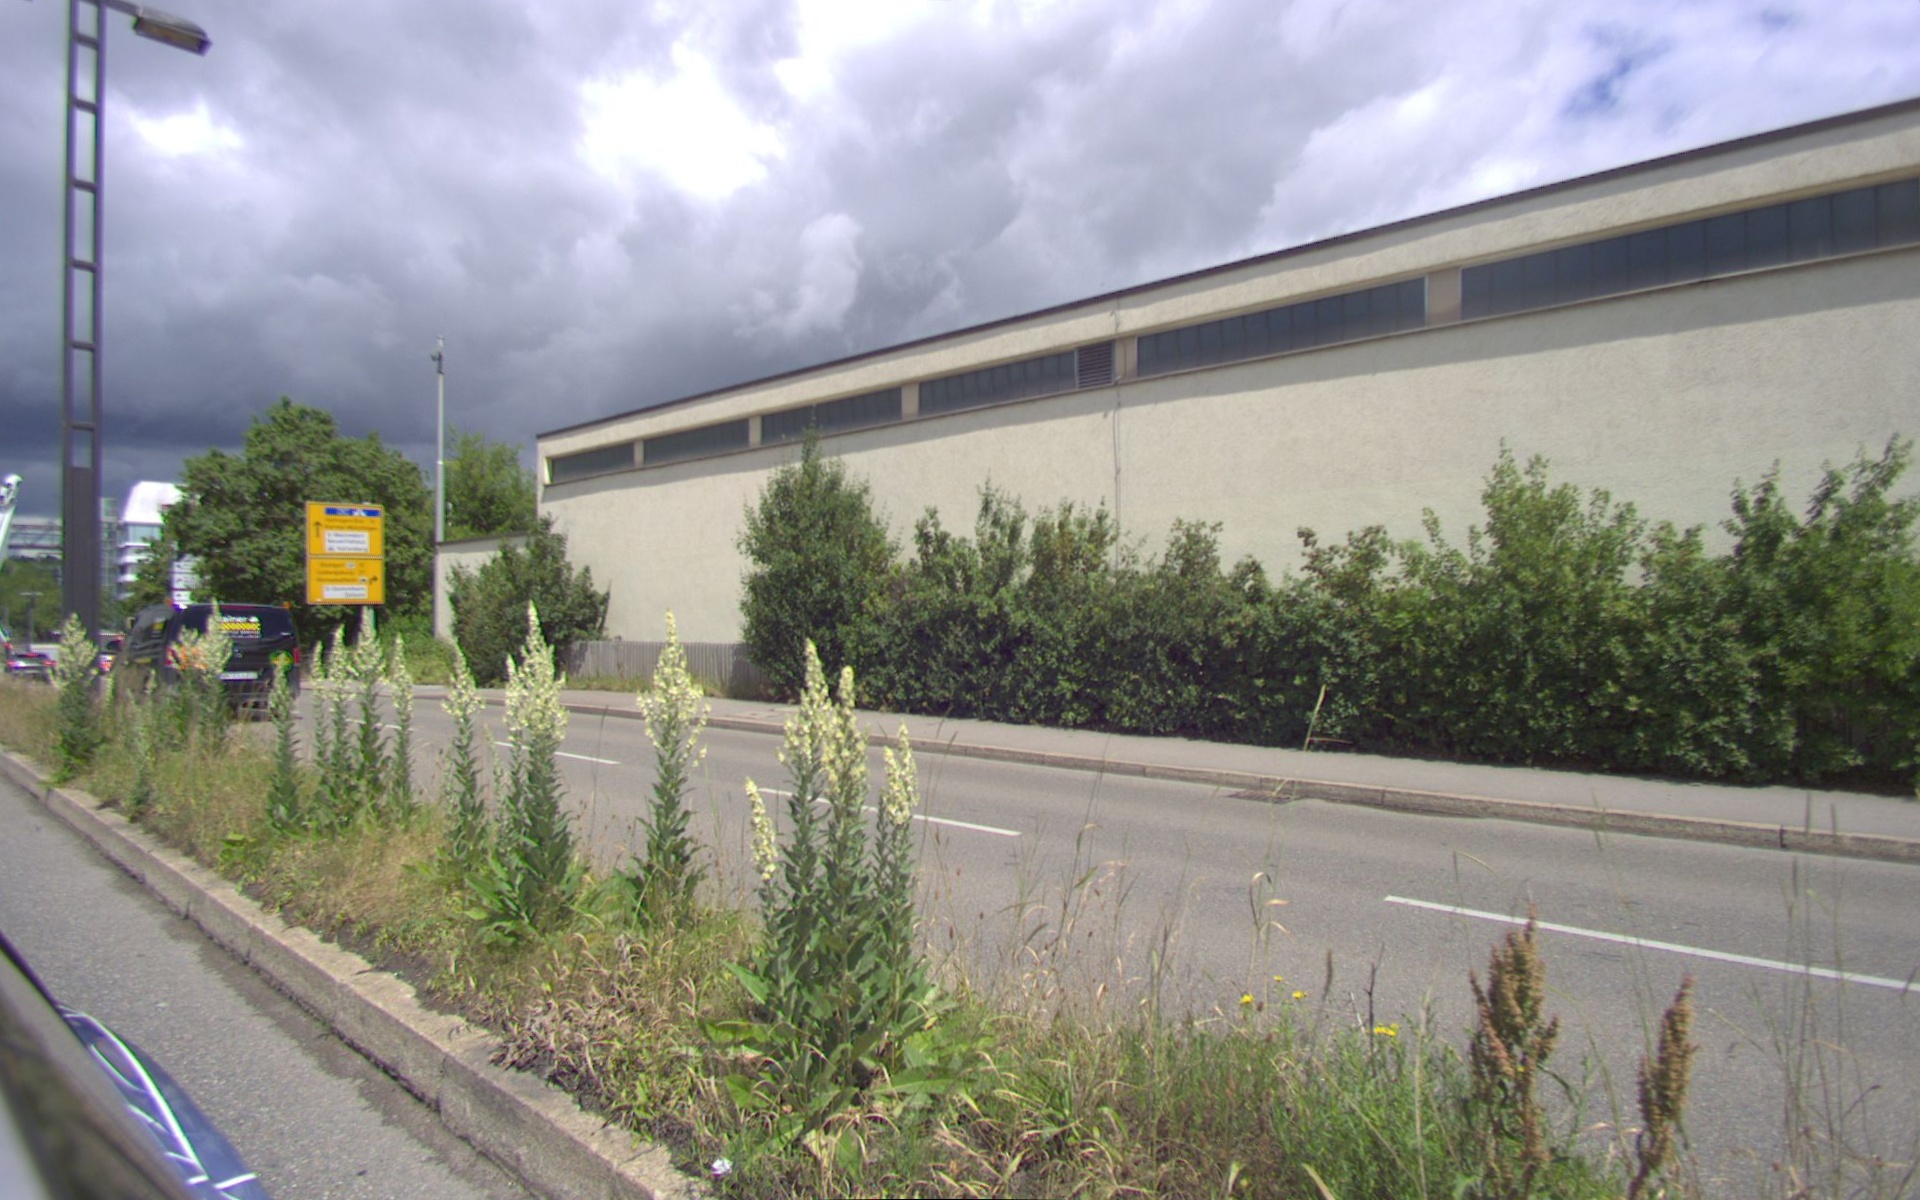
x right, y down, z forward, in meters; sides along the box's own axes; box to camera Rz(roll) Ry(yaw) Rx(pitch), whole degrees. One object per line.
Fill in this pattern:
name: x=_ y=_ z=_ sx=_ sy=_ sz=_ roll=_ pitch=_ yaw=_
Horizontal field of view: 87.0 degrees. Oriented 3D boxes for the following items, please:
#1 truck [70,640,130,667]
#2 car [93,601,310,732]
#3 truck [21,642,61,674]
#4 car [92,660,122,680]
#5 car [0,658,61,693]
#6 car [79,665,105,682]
truck: x=-130.119 y=8.094 z=153.163 sx=8.908 sy=3.595 sz=2.349 roll=-4 pitch=-2 yaw=16
car: x=-12.877 y=1.039 z=17.068 sx=4.866 sy=1.903 sz=1.973 roll=-2 pitch=-2 yaw=41
truck: x=-95.611 y=6.049 z=105.387 sx=2.820 sy=2.879 sz=9.389 roll=0 pitch=-5 yaw=-41
car: x=-93.329 y=7.609 z=110.770 sx=1.966 sy=1.973 sz=4.641 roll=-1 pitch=-2 yaw=-33
car: x=-46.002 y=3.700 z=49.960 sx=4.441 sy=1.639 sz=1.858 roll=-3 pitch=-4 yaw=41
car: x=-83.247 y=7.081 z=97.003 sx=1.817 sy=1.519 sz=4.566 roll=1 pitch=-4 yaw=-42
